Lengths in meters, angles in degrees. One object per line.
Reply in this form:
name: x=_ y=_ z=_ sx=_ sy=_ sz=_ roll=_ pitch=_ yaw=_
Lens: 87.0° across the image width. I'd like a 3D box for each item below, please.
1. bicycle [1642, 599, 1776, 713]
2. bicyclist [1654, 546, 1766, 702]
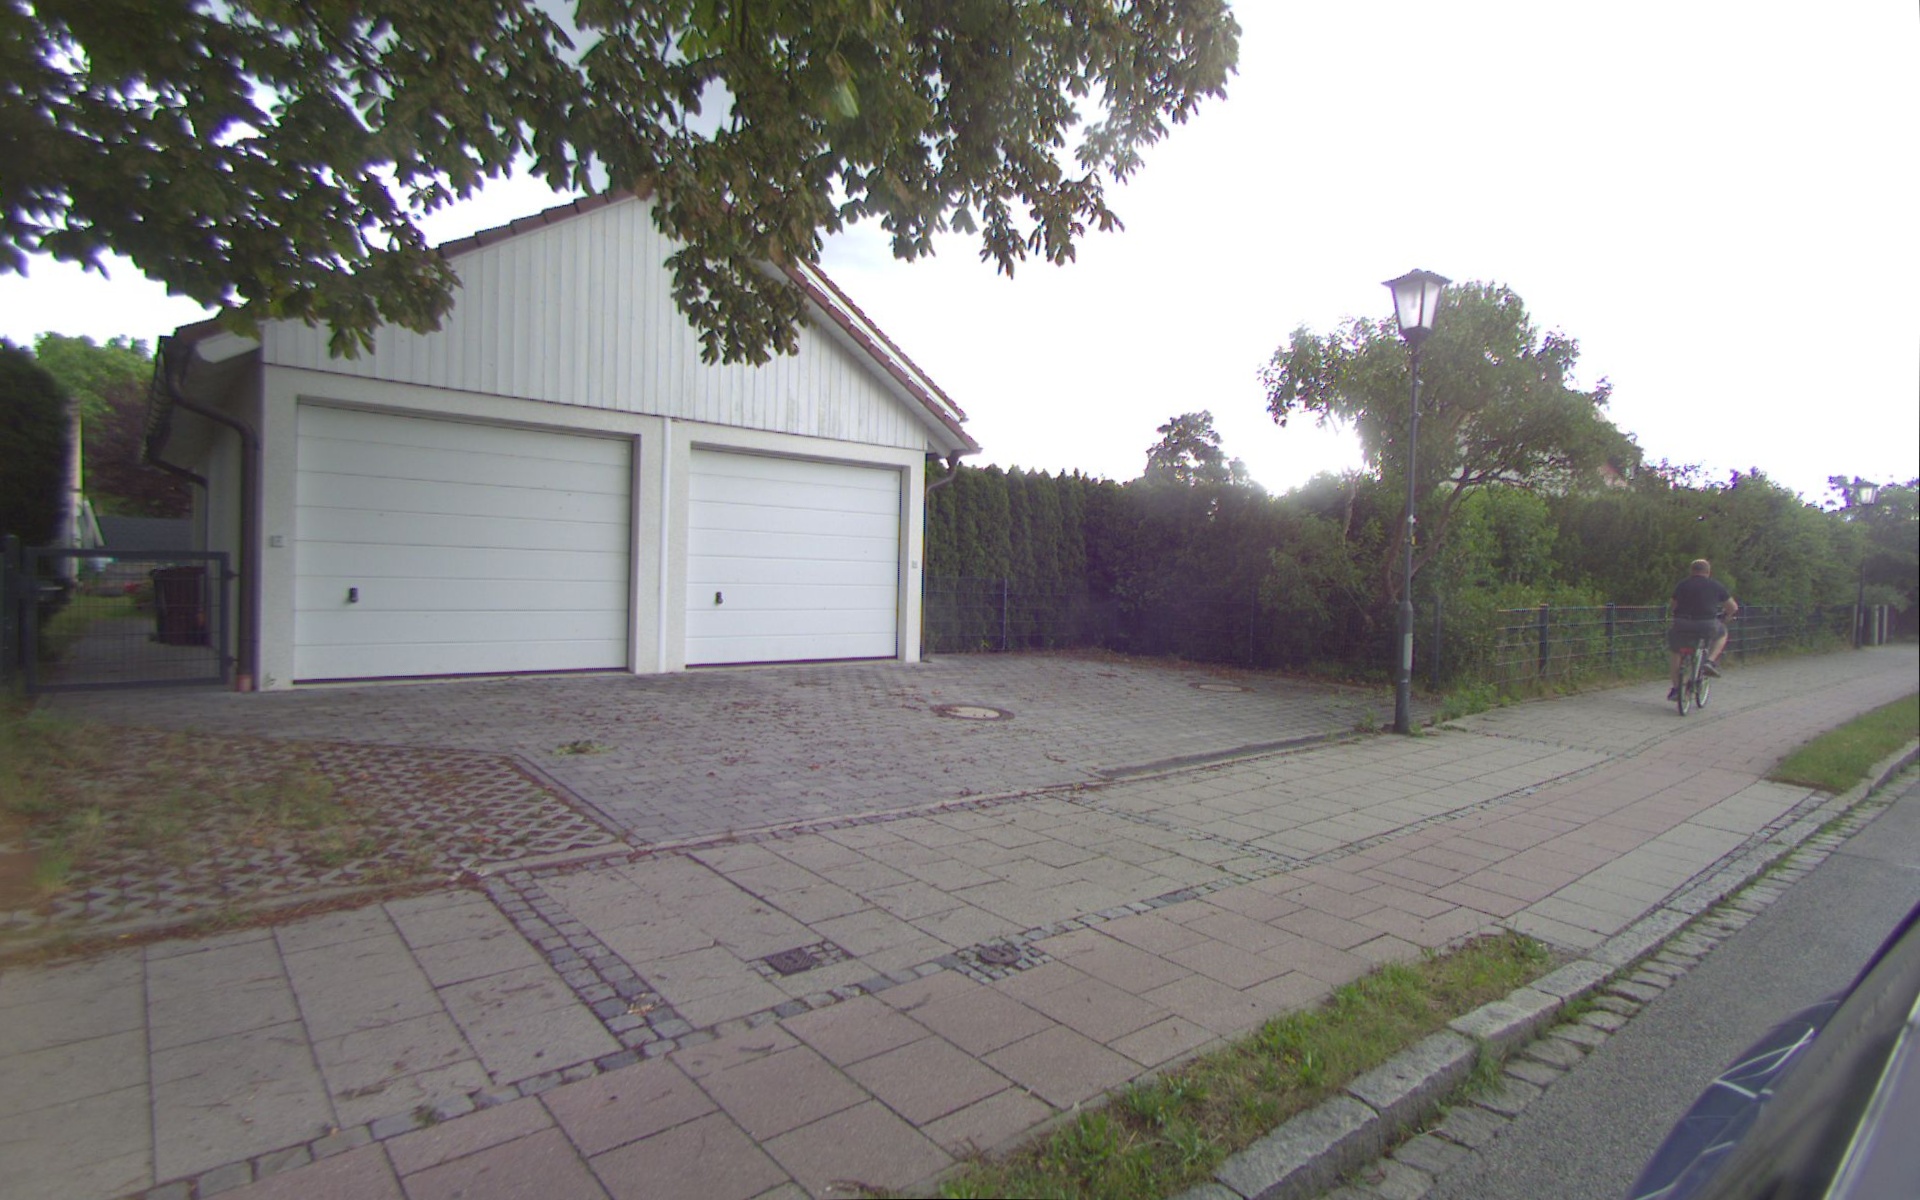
bicycle: x=8.443 y=0.580 z=11.380 sx=1.812 sy=1.157 sz=0.766 roll=0 pitch=1 yaw=-39
bicyclist: x=8.385 y=0.242 z=11.319 sx=0.874 sy=1.652 sz=0.738 roll=0 pitch=2 yaw=-38
